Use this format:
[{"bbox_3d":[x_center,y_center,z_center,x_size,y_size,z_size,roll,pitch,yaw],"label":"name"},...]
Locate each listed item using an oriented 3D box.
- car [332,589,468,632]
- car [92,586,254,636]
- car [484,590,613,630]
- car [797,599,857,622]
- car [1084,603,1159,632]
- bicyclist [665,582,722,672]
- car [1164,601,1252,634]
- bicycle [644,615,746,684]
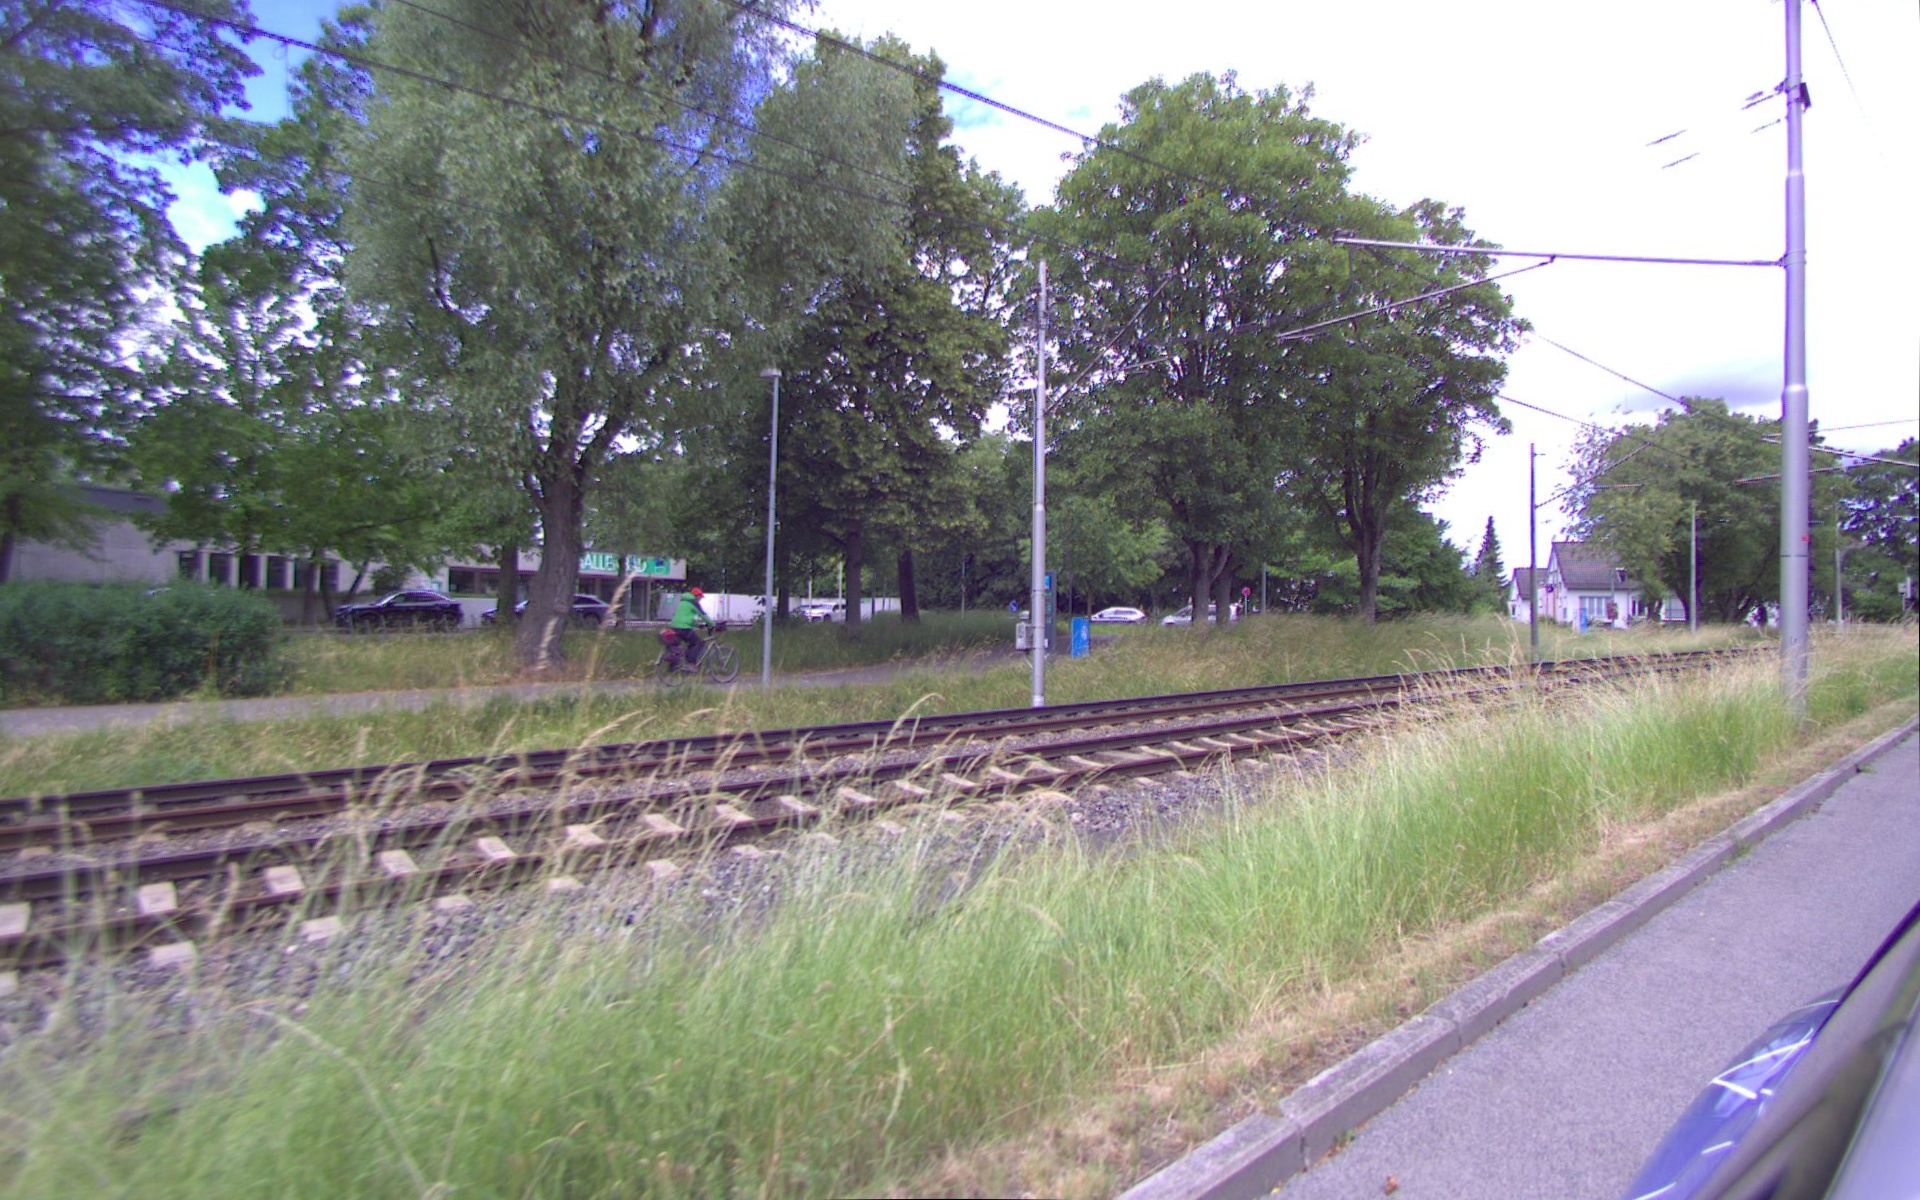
[{"bbox_3d":[-19.991,0.359,36.179,3.930,1.461,1.997,0,-1,-41],"label":"car"},{"bbox_3d":[-24.740,0.328,31.902,3.930,1.461,1.997,0,-1,-41],"label":"car"},{"bbox_3d":[-16.089,0.382,39.661,4.270,1.461,1.997,0,-1,-41],"label":"car"},{"bbox_3d":[-9.538,0.736,72.958,1.964,1.601,4.412,0,0,32],"label":"car"},{"bbox_3d":[9.788,1.049,61.398,4.154,1.699,1.755,0,-1,26],"label":"car"},{"bbox_3d":[-5.231,0.518,19.878,0.920,1.718,0.581,1,-1,-44],"label":"bicyclist"},{"bbox_3d":[14.401,0.996,58.833,4.666,1.885,1.900,0,-1,26],"label":"car"},{"bbox_3d":[-5.187,0.942,19.900,1.897,1.262,0.581,0,-1,-45],"label":"bicycle"}]
